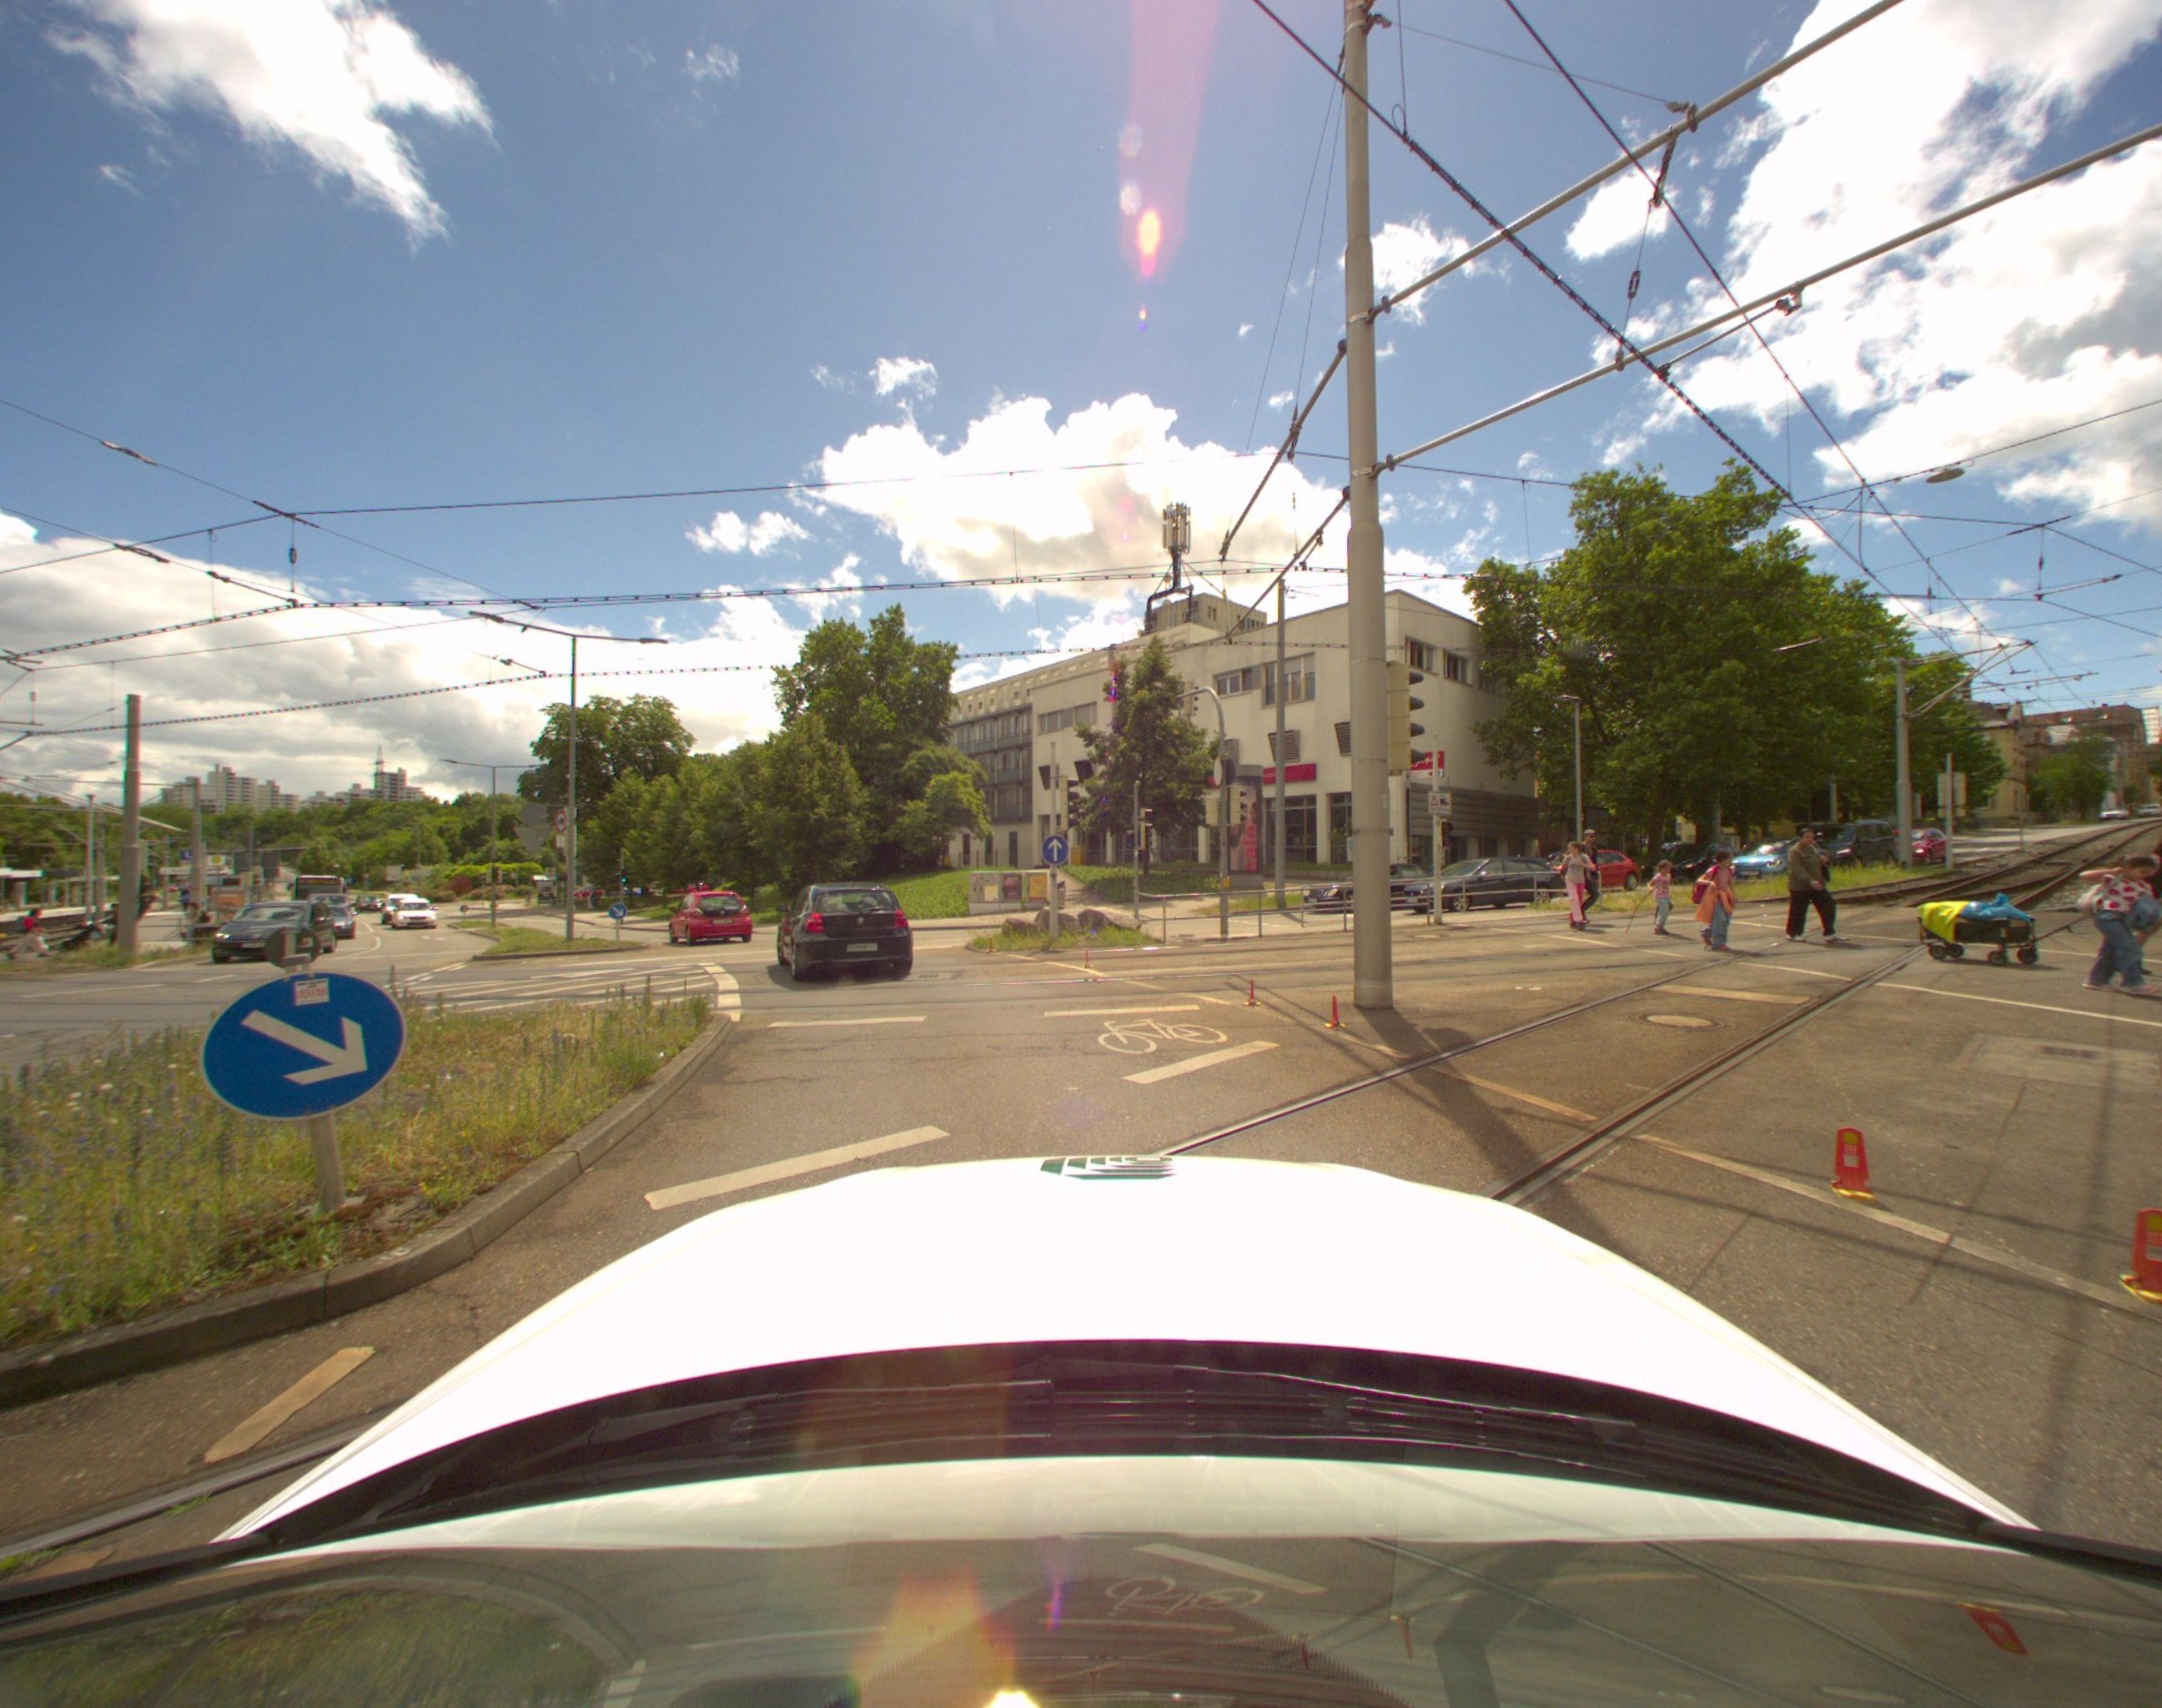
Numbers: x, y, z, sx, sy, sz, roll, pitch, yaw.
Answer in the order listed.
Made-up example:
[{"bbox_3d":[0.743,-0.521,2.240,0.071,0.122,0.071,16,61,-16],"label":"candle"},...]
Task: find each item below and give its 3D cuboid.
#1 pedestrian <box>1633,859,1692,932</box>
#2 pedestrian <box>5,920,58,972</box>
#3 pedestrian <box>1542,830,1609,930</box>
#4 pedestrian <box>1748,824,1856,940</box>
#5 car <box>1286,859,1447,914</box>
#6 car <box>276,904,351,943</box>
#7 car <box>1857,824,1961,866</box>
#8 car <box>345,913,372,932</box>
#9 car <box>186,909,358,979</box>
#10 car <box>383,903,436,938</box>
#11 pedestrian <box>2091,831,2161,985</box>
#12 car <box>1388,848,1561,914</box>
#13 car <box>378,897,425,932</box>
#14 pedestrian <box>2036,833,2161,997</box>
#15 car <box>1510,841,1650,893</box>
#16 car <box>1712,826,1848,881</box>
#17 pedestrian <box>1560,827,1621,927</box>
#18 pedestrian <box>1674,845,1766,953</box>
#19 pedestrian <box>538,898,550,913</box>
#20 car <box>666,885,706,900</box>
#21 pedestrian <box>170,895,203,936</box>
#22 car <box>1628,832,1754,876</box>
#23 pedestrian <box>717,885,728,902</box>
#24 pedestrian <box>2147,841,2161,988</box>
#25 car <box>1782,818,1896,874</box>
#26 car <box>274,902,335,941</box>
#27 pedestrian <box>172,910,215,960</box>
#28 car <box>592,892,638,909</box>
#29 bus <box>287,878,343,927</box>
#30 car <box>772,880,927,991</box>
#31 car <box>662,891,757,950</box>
[{"bbox_3d":[9.621,0.683,13.498,0.580,1.167,0.678,-3,-1,19],"label":"pedestrian"},{"bbox_3d":[-31.946,2.785,24.800,0.824,1.541,0.806,-4,-6,44],"label":"pedestrian"},{"bbox_3d":[8.948,0.463,14.763,0.746,1.750,0.694,-2,-1,6],"label":"pedestrian"},{"bbox_3d":[10.797,0.414,12.238,0.818,1.651,0.894,-2,-1,11],"label":"pedestrian"},{"bbox_3d":[8.830,0.985,25.269,4.323,1.465,2.040,-2,-2,-19],"label":"car"},{"bbox_3d":[-32.286,2.923,34.209,4.987,1.410,1.814,-5,-3,41],"label":"car"},{"bbox_3d":[33.696,-0.363,33.119,4.012,1.554,1.996,-2,-1,-30],"label":"car"},{"bbox_3d":[-63.029,5.971,71.033,1.543,1.551,3.686,2,-4,-45],"label":"car"},{"bbox_3d":[-22.338,2.407,22.733,1.812,1.580,4.266,-2,-2,-21],"label":"car"},{"bbox_3d":[-35.686,3.497,43.257,4.027,1.649,1.715,-3,-3,44],"label":"car"},{"bbox_3d":[11.141,0.533,8.402,0.580,1.527,0.678,-3,-1,19],"label":"pedestrian"},{"bbox_3d":[10.782,0.733,22.352,4.090,1.438,1.730,-4,-2,-17],"label":"car"},{"bbox_3d":[-42.262,3.735,50.590,4.450,1.662,1.778,3,3,44],"label":"car"},{"bbox_3d":[9.757,0.554,7.719,0.535,1.470,0.783,-3,-1,19],"label":"pedestrian"},{"bbox_3d":[17.032,0.442,27.835,3.999,1.642,1.987,-1,-1,-19],"label":"car"},{"bbox_3d":[22.859,-0.027,26.633,4.008,1.639,1.911,-2,-1,-26],"label":"car"},{"bbox_3d":[9.825,0.441,15.754,0.816,1.841,0.973,-3,-1,25],"label":"pedestrian"},{"bbox_3d":[9.150,0.637,11.697,0.733,1.481,0.858,-3,-1,19],"label":"pedestrian"},{"bbox_3d":[-48.625,4.656,73.699,0.834,1.259,0.678,-1,-1,-41],"label":"pedestrian"},{"bbox_3d":[-49.201,4.777,101.478,1.975,1.502,4.119,-1,1,44],"label":"car"},{"bbox_3d":[-45.130,3.101,41.097,0.979,2.014,1.016,-1,-2,-41],"label":"pedestrian"},{"bbox_3d":[22.647,-0.008,30.248,4.002,1.463,1.889,-2,-1,-21],"label":"car"},{"bbox_3d":[-39.137,4.296,88.920,0.993,1.760,0.849,-1,-2,-34],"label":"pedestrian"},{"bbox_3d":[10.495,0.569,7.445,0.580,1.400,0.678,-3,-1,19],"label":"pedestrian"},{"bbox_3d":[27.472,-0.294,29.500,4.162,1.881,1.834,-2,-1,-30],"label":"car"},{"bbox_3d":[-40.655,3.519,42.593,5.007,1.822,2.012,-5,-4,43],"label":"car"},{"bbox_3d":[-30.953,2.795,28.423,0.869,1.636,0.910,-1,-2,-40],"label":"pedestrian"},{"bbox_3d":[-49.952,4.965,87.373,1.872,1.456,3.829,-1,1,43],"label":"car"},{"bbox_3d":[-55.150,3.330,58.666,2.750,3.109,9.585,0,-1,-43],"label":"bus"},{"bbox_3d":[-3.904,1.196,13.254,1.824,1.421,3.967,-2,-2,-24],"label":"car"},{"bbox_3d":[-10.539,1.815,22.982,1.779,1.432,3.440,-1,-1,-35],"label":"car"}]
